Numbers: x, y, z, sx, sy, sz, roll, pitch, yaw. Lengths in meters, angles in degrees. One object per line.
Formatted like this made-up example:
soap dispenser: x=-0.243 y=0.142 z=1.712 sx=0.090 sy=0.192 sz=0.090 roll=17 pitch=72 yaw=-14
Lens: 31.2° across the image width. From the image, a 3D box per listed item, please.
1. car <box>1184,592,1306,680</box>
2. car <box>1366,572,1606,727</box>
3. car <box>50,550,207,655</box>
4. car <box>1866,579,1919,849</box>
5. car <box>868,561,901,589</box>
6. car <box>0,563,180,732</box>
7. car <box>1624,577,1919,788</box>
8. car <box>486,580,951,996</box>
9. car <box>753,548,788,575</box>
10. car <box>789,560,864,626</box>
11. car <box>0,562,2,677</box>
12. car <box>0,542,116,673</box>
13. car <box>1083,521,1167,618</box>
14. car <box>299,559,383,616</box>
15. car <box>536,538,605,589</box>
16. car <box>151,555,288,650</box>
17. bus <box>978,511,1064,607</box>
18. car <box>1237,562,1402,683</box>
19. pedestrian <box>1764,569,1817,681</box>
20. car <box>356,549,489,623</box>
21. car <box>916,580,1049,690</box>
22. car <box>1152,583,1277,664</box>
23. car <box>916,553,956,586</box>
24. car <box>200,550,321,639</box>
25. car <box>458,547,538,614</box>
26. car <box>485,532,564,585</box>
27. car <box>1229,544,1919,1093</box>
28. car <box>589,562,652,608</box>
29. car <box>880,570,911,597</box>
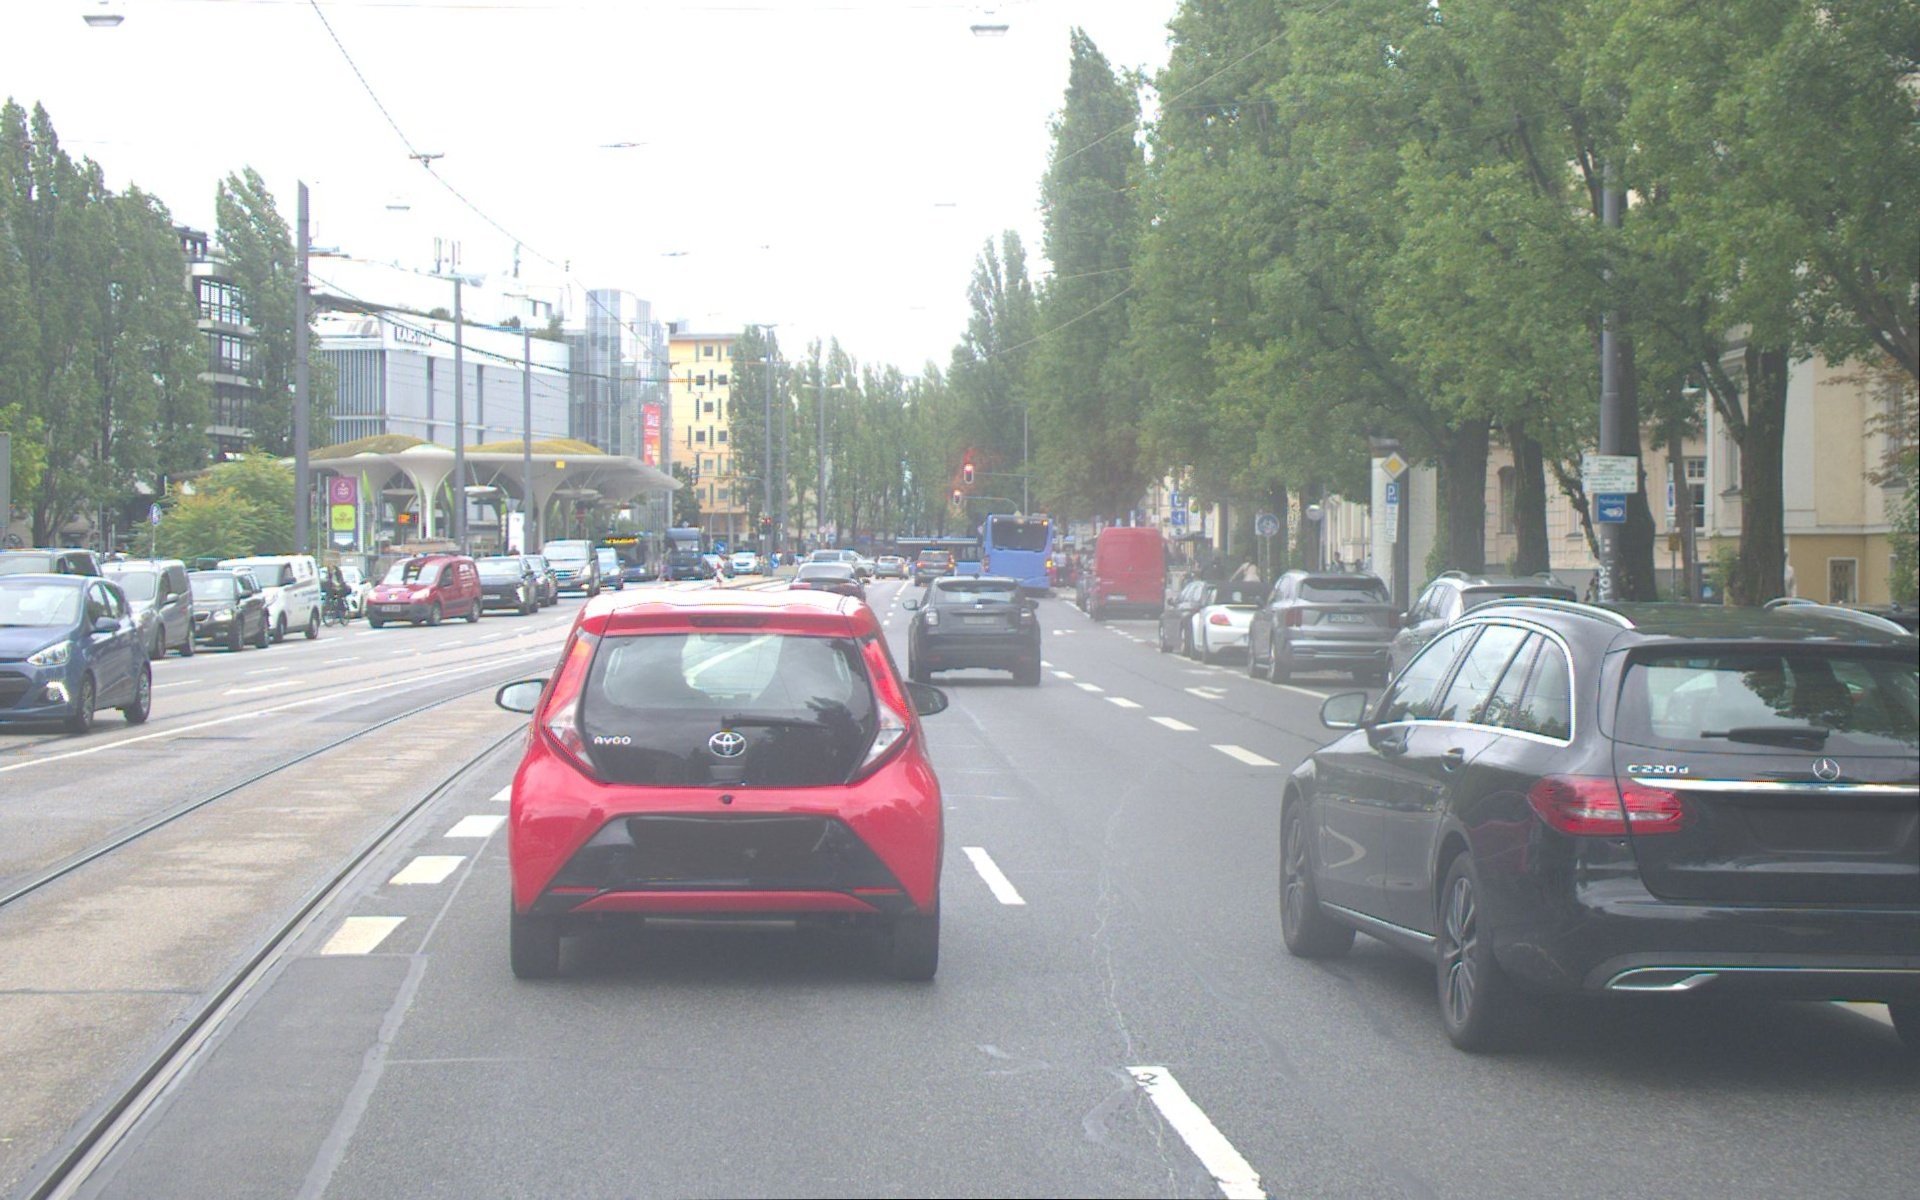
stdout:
car: x=5.110 y=0.624 z=62.054 sx=1.799 sy=1.503 sz=4.000 roll=0 pitch=1 yaw=-1
car: x=5.790 y=0.502 z=38.353 sx=1.799 sy=1.607 sz=4.547 roll=0 pitch=1 yaw=-2
car: x=-15.120 y=0.024 z=62.701 sx=1.799 sy=1.782 sz=4.519 roll=-2 pitch=1 yaw=-1
car: x=6.683 y=0.697 z=19.495 sx=1.799 sy=1.607 sz=4.306 roll=0 pitch=1 yaw=-2
car: x=-4.793 y=-1.591 z=218.692 sx=1.804 sy=1.590 sz=3.999 roll=1 pitch=-2 yaw=3
car: x=-8.902 y=0.426 z=33.228 sx=1.799 sy=1.517 sz=4.355 roll=-1 pitch=0 yaw=-1
car: x=6.311 y=0.543 z=25.400 sx=1.799 sy=1.394 sz=4.382 roll=0 pitch=1 yaw=-2
car: x=-0.972 y=0.665 z=13.997 sx=1.628 sy=1.435 sz=3.377 roll=1 pitch=1 yaw=-4
car: x=-10.512 y=-2.118 z=191.137 sx=1.781 sy=1.481 sz=4.000 roll=0 pitch=1 yaw=-1
car: x=-3.210 y=-0.187 z=83.327 sx=1.736 sy=1.544 sz=4.577 roll=0 pitch=1 yaw=-1
car: x=-14.491 y=0.302 z=46.603 sx=1.799 sy=1.629 sz=4.589 roll=-1 pitch=1 yaw=-1
car: x=-14.897 y=0.092 z=54.666 sx=1.799 sy=1.984 sz=5.039 roll=-1 pitch=1 yaw=-1
car: x=4.625 y=-0.893 z=96.954 sx=1.993 sy=2.565 sz=4.680 roll=1 pitch=2 yaw=-1
car: x=-17.432 y=-0.367 z=96.933 sx=1.799 sy=1.525 sz=4.519 roll=-2 pitch=1 yaw=-4
car: x=-13.167 y=-1.234 z=116.346 sx=1.799 sy=1.659 sz=4.519 roll=-2 pitch=1 yaw=0
car: x=-14.813 y=0.023 z=68.938 sx=1.799 sy=1.782 sz=4.519 roll=-2 pitch=1 yaw=-1
bus: x=2.310 y=-1.692 z=134.261 sx=2.906 sy=3.384 sz=10.807 roll=1 pitch=2 yaw=-1
car: x=5.370 y=0.292 z=51.888 sx=1.799 sy=1.737 sz=4.701 roll=0 pitch=1 yaw=-2
pedestrian: x=13.188 y=0.395 z=54.578 sx=0.591 sy=1.732 sz=0.824 roll=1 pitch=2 yaw=-1
car: x=-13.643 y=-0.382 z=87.550 sx=1.800 sy=1.782 sz=4.516 roll=-2 pitch=1 yaw=12
car: x=0.278 y=0.467 z=49.011 sx=1.781 sy=1.481 sz=4.000 roll=0 pitch=1 yaw=-1
car: x=4.957 y=0.440 z=67.435 sx=1.799 sy=1.503 sz=4.451 roll=0 pitch=1 yaw=-4
car: x=-1.090 y=-1.369 z=155.136 sx=1.781 sy=1.481 sz=4.000 roll=0 pitch=1 yaw=-1
car: x=-15.460 y=-0.139 z=76.166 sx=1.799 sy=1.855 sz=4.631 roll=-2 pitch=1 yaw=-2
car: x=-12.927 y=-0.563 z=96.397 sx=1.799 sy=1.782 sz=4.519 roll=-2 pitch=1 yaw=-3
car: x=-13.284 y=-1.256 z=105.035 sx=1.799 sy=1.525 sz=4.519 roll=-2 pitch=1 yaw=0
car: x=2.315 y=0.595 z=12.400 sx=1.863 sy=1.544 sz=4.705 roll=0 pitch=1 yaw=-6
car: x=-12.872 y=-0.600 z=130.522 sx=1.799 sy=1.659 sz=4.519 roll=-2 pitch=1 yaw=1
car: x=-4.221 y=-1.071 z=225.945 sx=1.804 sy=1.590 sz=3.999 roll=1 pitch=-2 yaw=3
